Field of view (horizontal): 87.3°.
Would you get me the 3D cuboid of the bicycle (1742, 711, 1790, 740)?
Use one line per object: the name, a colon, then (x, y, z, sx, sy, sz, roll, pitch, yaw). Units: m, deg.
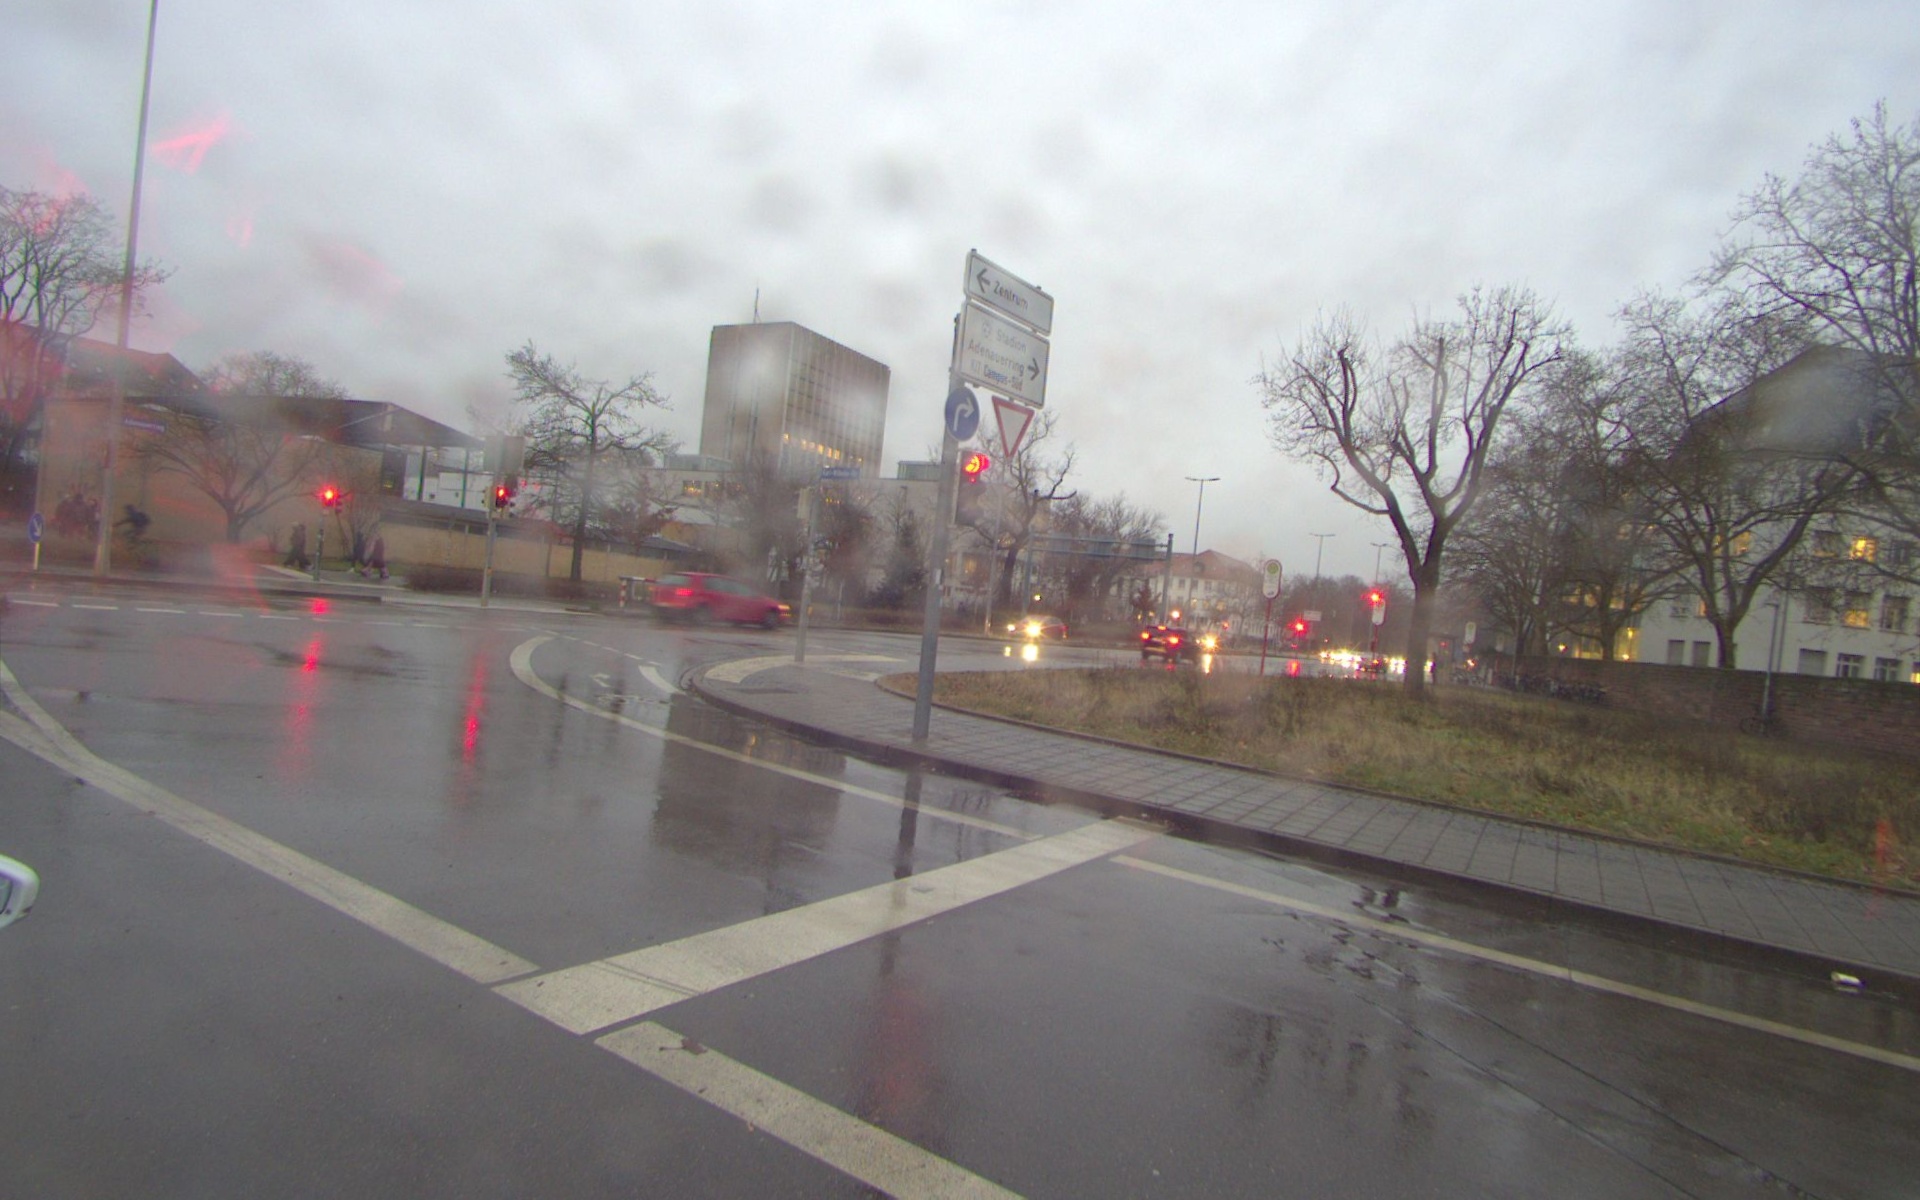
bicycle: (28.202, 4.399, 35.225, 0.387, 0.834, 1.386, 7, -2, -4)

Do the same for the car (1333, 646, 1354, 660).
car: (53.428, 7.389, 140.174, 1.966, 1.783, 3.992, 7, 1, 29)

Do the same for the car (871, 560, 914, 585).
car: (-7.079, -2.911, 106.499, 2.014, 2.102, 4.892, 6, 0, 30)

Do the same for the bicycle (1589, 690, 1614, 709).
bicycle: (30.275, 4.672, 47.475, 0.352, 0.795, 1.415, 7, -2, 8)

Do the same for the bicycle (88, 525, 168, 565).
bicycle: (-27.062, -1.789, 32.729, 0.650, 1.061, 1.880, 8, 1, 41)

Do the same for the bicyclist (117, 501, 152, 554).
bicyclist: (-26.916, -2.349, 32.804, 0.650, 1.620, 0.683, 8, 2, 41)

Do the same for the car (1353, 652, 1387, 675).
car: (34.260, 5.285, 84.002, 1.811, 1.710, 4.311, 6, 0, 32)

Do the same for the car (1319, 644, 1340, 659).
car: (49.287, 6.859, 134.147, 1.966, 1.783, 3.992, 7, 1, 29)

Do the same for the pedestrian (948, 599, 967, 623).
pedestrian: (-0.176, 0.793, 73.897, 0.783, 1.624, 0.960, 8, 2, 39)

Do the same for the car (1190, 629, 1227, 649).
car: (22.429, 3.546, 90.765, 1.782, 1.496, 4.416, 6, 0, 32)

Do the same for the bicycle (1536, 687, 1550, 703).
bicycle: (32.413, 5.289, 55.952, 0.387, 0.795, 1.607, 7, -2, 22)

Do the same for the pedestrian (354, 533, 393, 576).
pedestrian: (-23.265, -1.804, 39.910, 1.027, 1.553, 0.924, 8, 2, 37)

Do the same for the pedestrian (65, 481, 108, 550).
pedestrian: (-29.172, -2.822, 33.595, 0.874, 2.141, 0.890, 8, 2, 44)

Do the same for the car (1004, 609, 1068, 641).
car: (4.306, 1.415, 56.445, 1.780, 1.496, 4.419, 6, 0, 29)

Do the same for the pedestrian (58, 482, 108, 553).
pedestrian: (-28.559, -2.680, 32.768, 0.871, 2.141, 0.893, 7, 2, 32)

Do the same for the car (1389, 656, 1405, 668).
car: (74.066, 10.444, 170.398, 1.965, 1.783, 3.993, 7, 1, 27)

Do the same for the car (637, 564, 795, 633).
car: (-6.988, -0.005, 29.194, 1.814, 1.602, 4.119, 6, 0, 39)

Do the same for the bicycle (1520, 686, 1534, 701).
bicycle: (33.323, 5.486, 59.144, 0.387, 0.795, 1.532, 7, -2, 20)

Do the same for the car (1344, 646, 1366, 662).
car: (51.645, 7.066, 131.491, 1.966, 1.783, 3.992, 7, 1, 29)

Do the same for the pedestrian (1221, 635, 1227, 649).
pedestrian: (32.969, 5.249, 125.667, 0.404, 1.713, 0.561, 7, 2, 28)

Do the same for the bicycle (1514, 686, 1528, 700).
bicycle: (33.829, 5.613, 60.663, 0.387, 0.795, 1.532, 7, -2, 20)

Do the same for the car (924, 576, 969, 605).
car: (-1.332, -0.987, 103.089, 2.014, 2.452, 5.326, 6, 0, 30)

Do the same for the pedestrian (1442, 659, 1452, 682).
pedestrian: (43.175, 6.240, 89.185, 0.557, 2.040, 0.595, 8, 2, 33)

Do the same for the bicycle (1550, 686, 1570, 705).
bicycle: (31.356, 4.979, 52.555, 0.387, 0.868, 1.532, 7, -2, 15)

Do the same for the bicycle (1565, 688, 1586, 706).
bicycle: (31.038, 4.875, 50.744, 0.343, 0.848, 1.493, 7, -2, 13)

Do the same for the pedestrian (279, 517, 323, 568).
pedestrian: (-25.253, -2.198, 38.545, 0.904, 1.823, 0.997, 7, 2, 32)

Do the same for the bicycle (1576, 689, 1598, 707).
bicycle: (30.549, 4.768, 48.999, 0.387, 0.795, 1.533, 7, -2, 14)

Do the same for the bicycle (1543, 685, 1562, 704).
bicycle: (31.842, 5.073, 54.086, 0.387, 0.927, 1.532, 7, -2, 15)

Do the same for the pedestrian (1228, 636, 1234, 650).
pedestrian: (33.823, 5.364, 125.612, 0.404, 1.713, 0.427, 7, 2, 28)

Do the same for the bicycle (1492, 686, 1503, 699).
bicycle: (36.391, 6.245, 68.106, 0.387, 0.795, 1.532, 7, -2, 20)

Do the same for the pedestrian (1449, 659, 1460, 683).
pedestrian: (43.689, 6.294, 88.846, 0.557, 2.040, 0.595, 8, 2, 33)

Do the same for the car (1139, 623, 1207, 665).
car: (10.358, 2.176, 48.760, 1.810, 1.710, 4.315, 6, -1, 31)

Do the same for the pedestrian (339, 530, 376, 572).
pedestrian: (-24.191, -1.977, 40.403, 0.872, 1.553, 0.892, 8, 2, 36)

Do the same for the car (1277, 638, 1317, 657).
car: (41.088, 5.753, 122.665, 3.933, 1.784, 1.995, 7, 1, -11)

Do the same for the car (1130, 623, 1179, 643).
car: (23.446, 3.974, 121.286, 5.251, 1.903, 2.042, 6, 0, 33)

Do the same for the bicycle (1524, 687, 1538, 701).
bicycle: (32.841, 5.403, 57.865, 0.387, 0.795, 1.532, 7, -2, 19)

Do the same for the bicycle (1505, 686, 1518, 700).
bicycle: (34.850, 5.865, 63.625, 0.387, 0.795, 1.532, 7, -2, 20)

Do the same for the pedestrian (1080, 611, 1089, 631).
pedestrian: (11.232, 1.893, 90.940, 0.411, 1.725, 0.430, 8, 3, 44)

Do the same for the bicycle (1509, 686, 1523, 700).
bicycle: (34.350, 5.740, 62.151, 0.387, 0.795, 1.532, 7, -2, 20)

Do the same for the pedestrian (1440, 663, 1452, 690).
pedestrian: (30.152, 4.732, 62.417, 0.462, 1.623, 0.486, 7, -1, 25)
